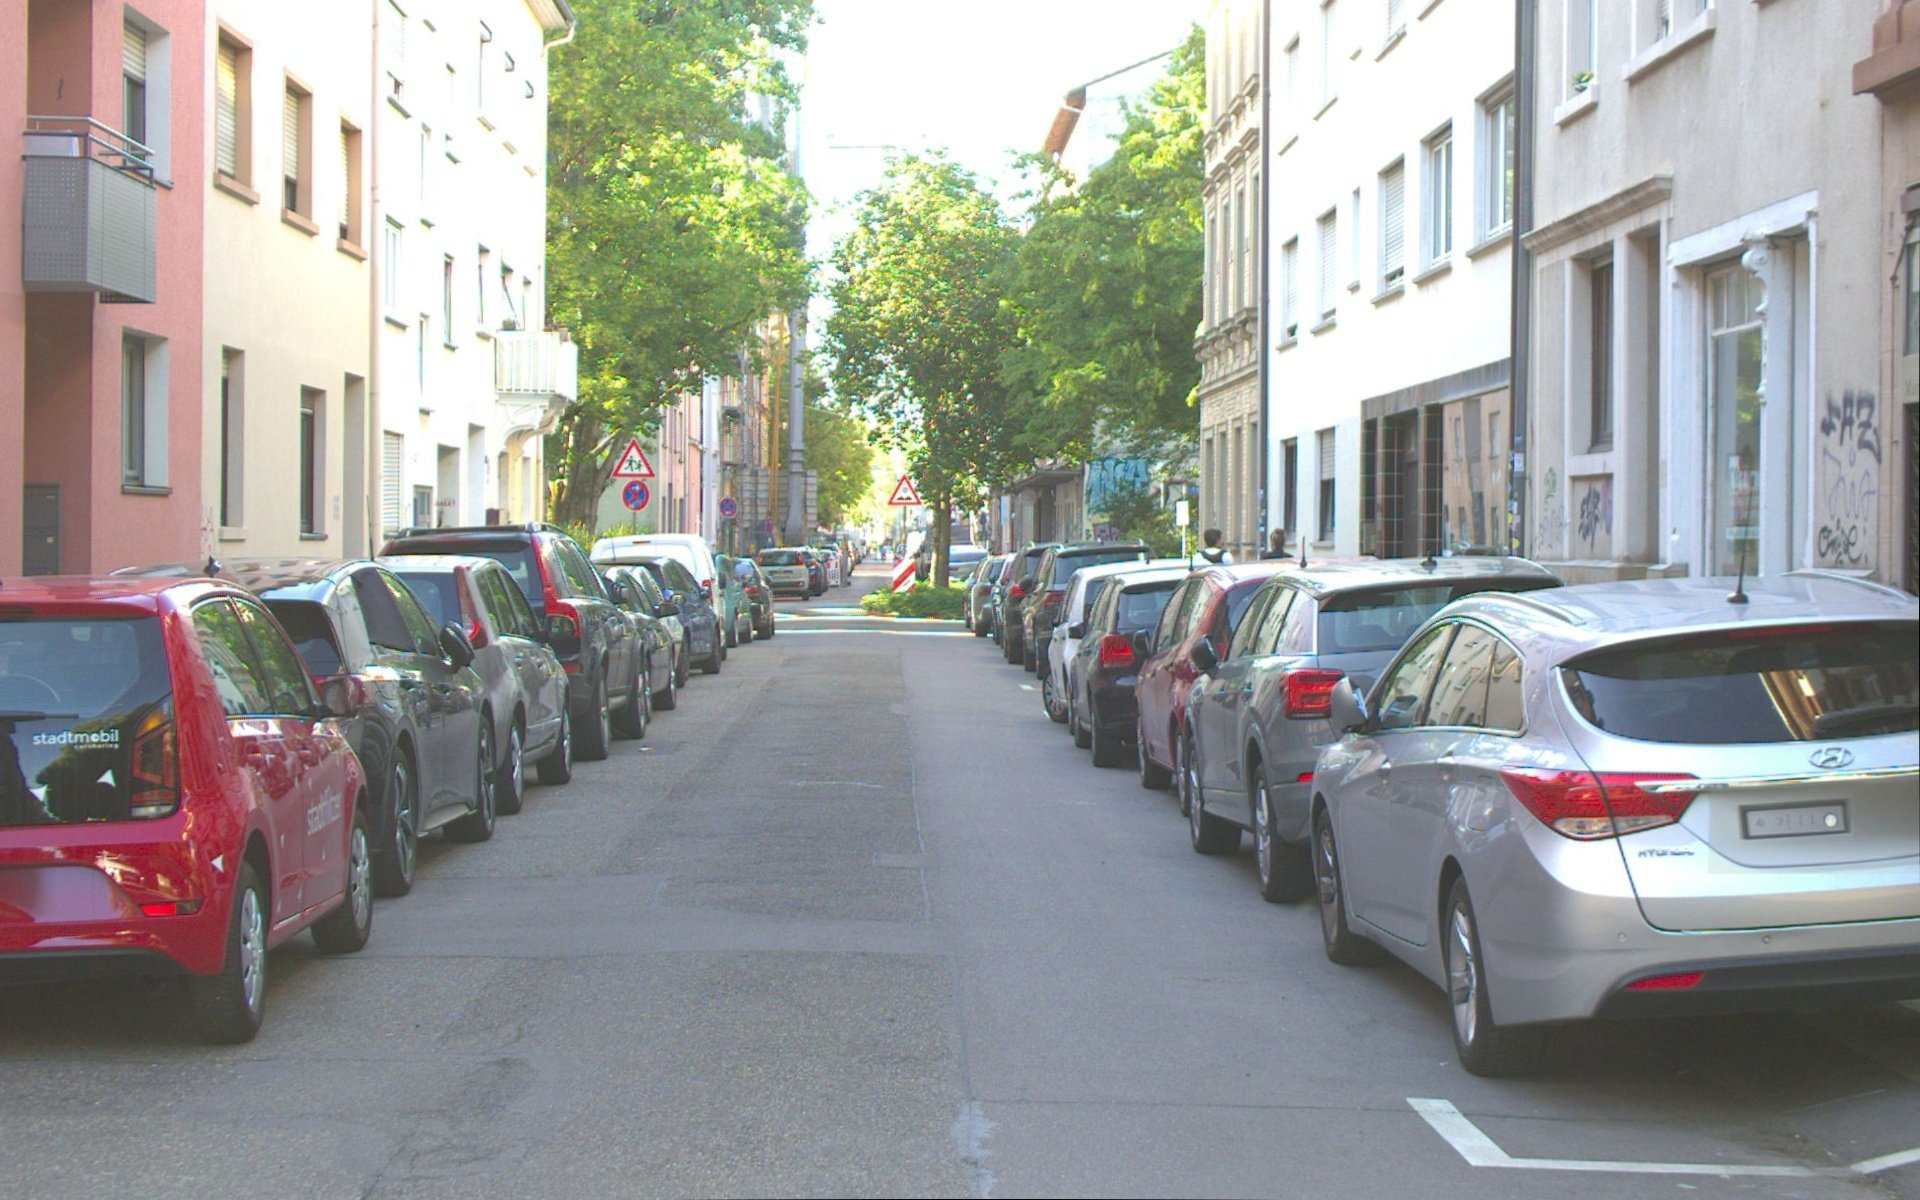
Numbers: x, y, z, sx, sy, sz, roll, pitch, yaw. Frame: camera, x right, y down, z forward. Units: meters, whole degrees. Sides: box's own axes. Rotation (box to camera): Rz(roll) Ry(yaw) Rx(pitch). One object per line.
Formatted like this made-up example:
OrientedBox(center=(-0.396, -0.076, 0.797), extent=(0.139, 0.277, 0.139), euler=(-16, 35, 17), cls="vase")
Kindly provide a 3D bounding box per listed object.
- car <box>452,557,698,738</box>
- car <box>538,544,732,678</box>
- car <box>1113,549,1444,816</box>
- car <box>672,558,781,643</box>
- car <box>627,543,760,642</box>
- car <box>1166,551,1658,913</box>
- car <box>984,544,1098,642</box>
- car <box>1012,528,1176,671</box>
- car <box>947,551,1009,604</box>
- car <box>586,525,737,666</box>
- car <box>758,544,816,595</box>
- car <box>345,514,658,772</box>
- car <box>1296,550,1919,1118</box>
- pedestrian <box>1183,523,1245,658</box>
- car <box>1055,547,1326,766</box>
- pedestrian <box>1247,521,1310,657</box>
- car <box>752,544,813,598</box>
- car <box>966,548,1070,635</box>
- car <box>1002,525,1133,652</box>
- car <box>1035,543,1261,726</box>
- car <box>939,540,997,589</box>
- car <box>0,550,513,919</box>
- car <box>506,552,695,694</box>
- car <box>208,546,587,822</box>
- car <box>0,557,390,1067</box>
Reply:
OrientedBox(center=(-3.536, 0.389, 32.297), extent=(1.743, 1.501, 4.346), euler=(-1, 1, 1), cls="car")
OrientedBox(center=(-3.887, 0.095, 41.715), extent=(1.673, 1.481, 3.991), euler=(-1, 1, 4), cls="car")
OrientedBox(center=(1.957, 0.453, 22.211), extent=(1.598, 1.501, 4.185), euler=(-1, 1, -2), cls="car")
OrientedBox(center=(-4.018, -0.018, 59.643), extent=(1.670, 1.356, 4.049), euler=(-1, 1, -1), cls="car")
OrientedBox(center=(-4.239, -0.145, 55.120), extent=(1.670, 1.464, 3.820), euler=(-1, 1, 2), cls="car")
OrientedBox(center=(2.080, 0.542, 16.901), extent=(1.744, 1.501, 4.021), euler=(-1, 1, -2), cls="car")
OrientedBox(center=(1.332, -0.145, 57.948), extent=(1.675, 1.556, 3.796), euler=(-1, 1, -2), cls="car")
OrientedBox(center=(1.643, -0.041, 43.372), extent=(1.676, 1.621, 4.251), euler=(-4, 1, -2), cls="car")
OrientedBox(center=(0.521, -0.688, 101.863), extent=(1.675, 1.482, 3.638), euler=(-1, 1, -2), cls="car")
OrientedBox(center=(-3.976, -0.102, 46.348), extent=(1.765, 1.779, 4.039), euler=(-1, 1, -2), cls="car")
OrientedBox(center=(-5.326, -0.942, 106.002), extent=(1.675, 1.482, 4.095), euler=(-1, 1, -2), cls="car")
OrientedBox(center=(-3.491, 0.261, 26.982), extent=(1.743, 1.805, 4.672), euler=(-1, 1, 1), cls="car")
OrientedBox(center=(2.309, 0.615, 11.685), extent=(1.744, 1.501, 4.358), euler=(-1, 1, -2), cls="car")
OrientedBox(center=(3.128, -0.124, 42.399), extent=(0.685, 1.654, 0.717), euler=(0, 1, -1), cls="pedestrian")
OrientedBox(center=(1.704, 0.375, 26.547), extent=(1.675, 1.501, 3.938), euler=(-1, 1, -2), cls="car")
OrientedBox(center=(3.927, -0.143, 42.444), extent=(0.685, 1.654, 0.717), euler=(0, 1, -1), cls="pedestrian")
OrientedBox(center=(-5.176, -0.872, 100.554), extent=(1.675, 1.482, 4.095), euler=(-1, 1, -2), cls="car")
OrientedBox(center=(1.033, -0.176, 62.849), extent=(1.675, 1.482, 4.095), euler=(-1, 1, -2), cls="car")
OrientedBox(center=(1.469, -0.167, 48.333), extent=(1.676, 1.676, 4.095), euler=(-1, 0, 0), cls="car")
OrientedBox(center=(1.635, 0.258, 31.095), extent=(1.675, 1.501, 3.938), euler=(-1, 1, -2), cls="car")
OrientedBox(center=(0.250, -1.130, 108.258), extent=(1.675, 1.482, 3.638), euler=(-1, 1, -2), cls="car")
OrientedBox(center=(-3.336, 0.549, 16.770), extent=(1.695, 1.516, 4.096), euler=(-1, 1, 1), cls="car")
OrientedBox(center=(-3.845, 0.209, 37.323), extent=(1.673, 1.383, 4.182), euler=(-1, 1, -1), cls="car")
OrientedBox(center=(-3.426, 0.450, 21.591), extent=(1.656, 1.516, 3.944), euler=(-1, 1, 1), cls="car")
OrientedBox(center=(-3.077, 0.622, 12.038), extent=(1.628, 1.476, 3.601), euler=(-1, 1, -2), cls="car")
